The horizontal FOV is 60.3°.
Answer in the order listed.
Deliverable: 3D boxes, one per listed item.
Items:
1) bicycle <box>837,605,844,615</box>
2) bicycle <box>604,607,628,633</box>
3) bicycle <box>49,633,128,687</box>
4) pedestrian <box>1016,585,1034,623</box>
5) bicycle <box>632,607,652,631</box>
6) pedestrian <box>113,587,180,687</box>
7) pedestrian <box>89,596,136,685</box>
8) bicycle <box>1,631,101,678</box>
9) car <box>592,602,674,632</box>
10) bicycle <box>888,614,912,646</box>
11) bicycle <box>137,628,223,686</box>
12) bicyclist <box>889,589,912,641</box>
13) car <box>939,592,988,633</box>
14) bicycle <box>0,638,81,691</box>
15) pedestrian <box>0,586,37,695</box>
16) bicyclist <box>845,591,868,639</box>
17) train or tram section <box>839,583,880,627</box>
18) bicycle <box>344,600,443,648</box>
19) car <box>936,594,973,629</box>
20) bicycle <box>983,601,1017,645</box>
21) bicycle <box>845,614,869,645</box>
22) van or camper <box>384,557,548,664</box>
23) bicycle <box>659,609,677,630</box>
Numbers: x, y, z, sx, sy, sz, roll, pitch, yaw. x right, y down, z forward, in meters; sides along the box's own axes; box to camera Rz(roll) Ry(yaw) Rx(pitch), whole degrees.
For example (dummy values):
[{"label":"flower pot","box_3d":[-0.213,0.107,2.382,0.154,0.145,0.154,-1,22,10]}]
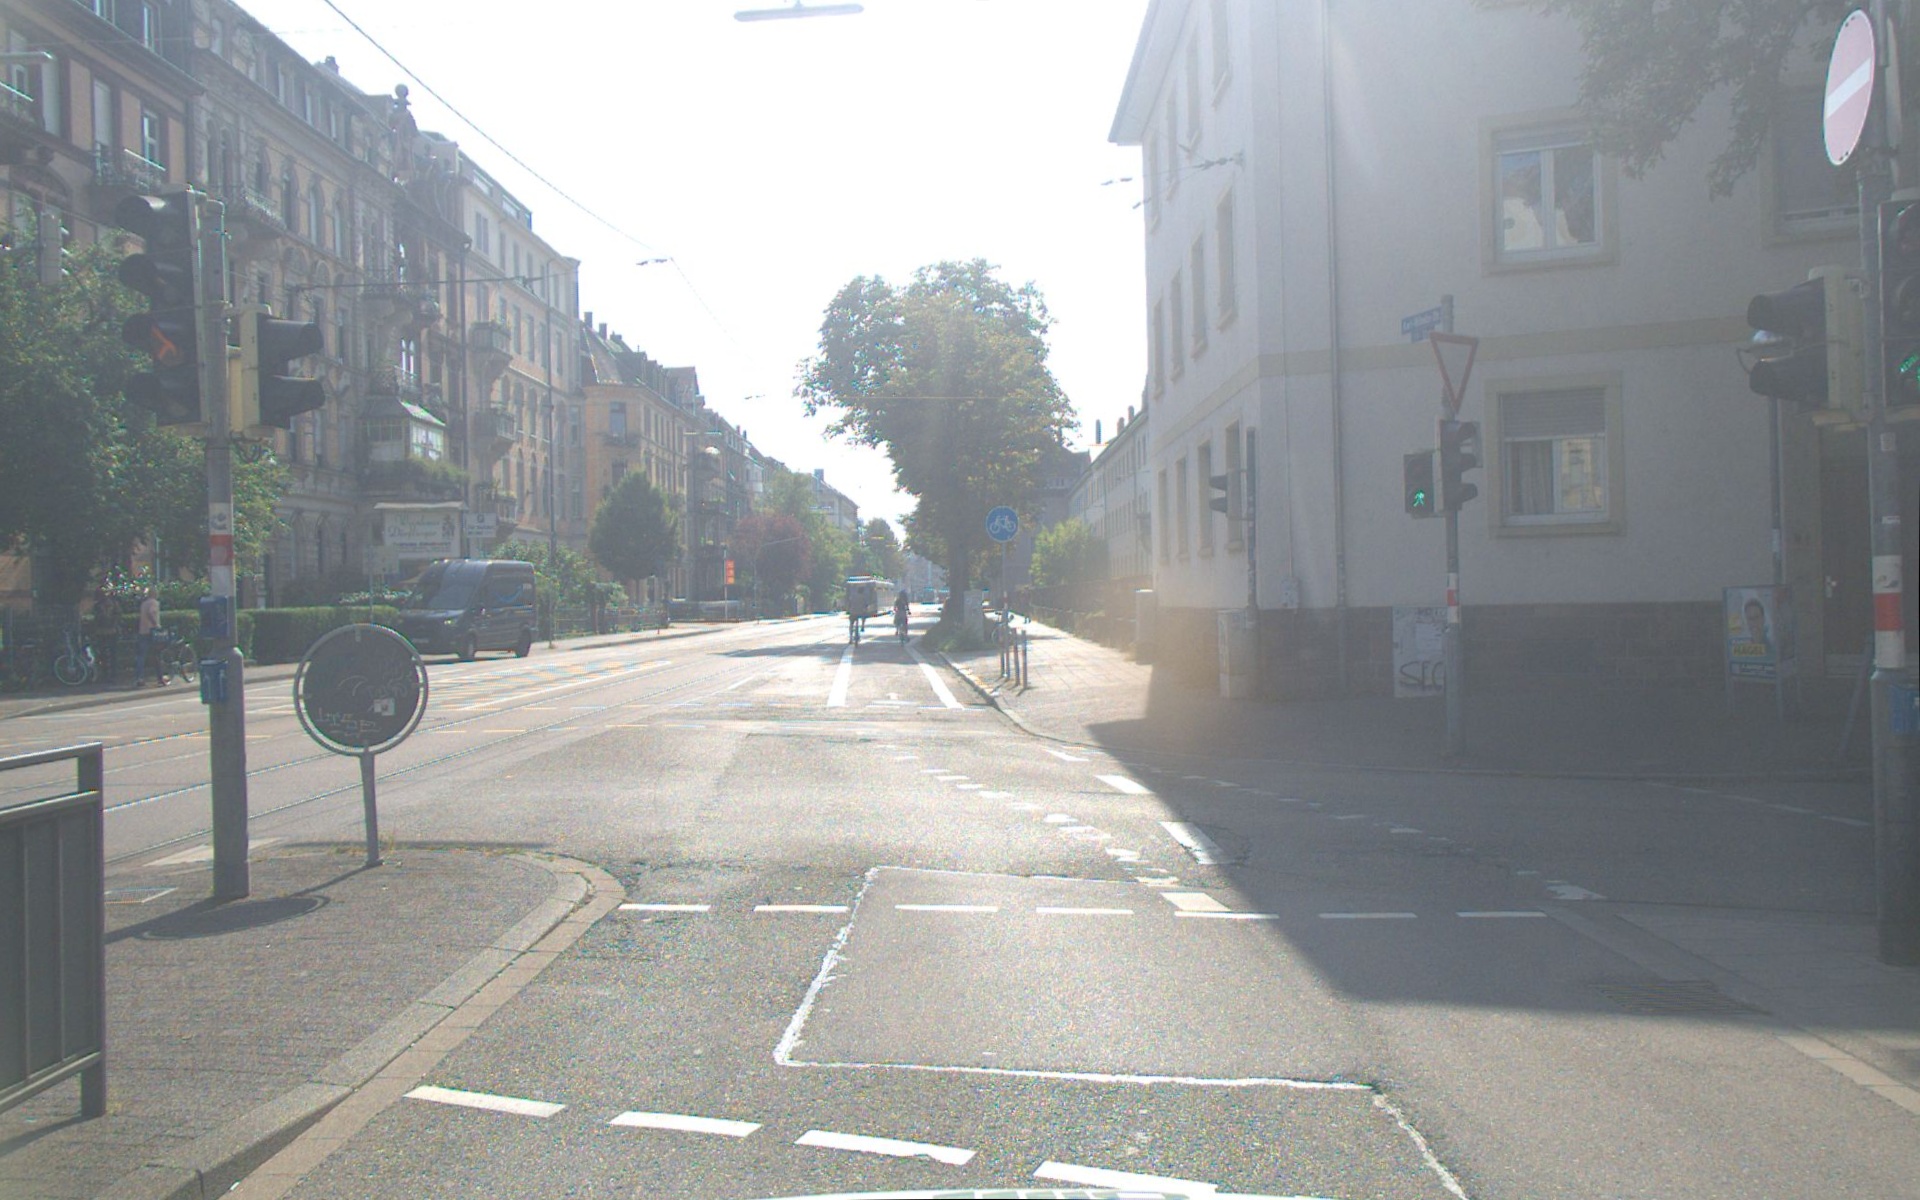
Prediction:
[{"label":"bicycle","box_3d":[-14.651,1.181,202.762,0.549,1.242,2.114,-1,0,2]},{"label":"bicycle","box_3d":[-15.275,0.889,73.451,0.594,1.076,1.840,3,0,2]},{"label":"bicycle","box_3d":[-16.702,1.140,31.742,0.515,0.943,1.703,-1,0,3]},{"label":"pedestrian","box_3d":[3.088,0.195,78.543,0.736,1.779,0.879,-1,0,6]},{"label":"bicycle","box_3d":[-15.261,0.904,79.385,0.533,1.076,1.840,3,0,2]},{"label":"pedestrian","box_3d":[-15.348,0.688,31.224,0.713,1.838,1.093,-1,0,-1]},{"label":"pedestrian","box_3d":[-16.543,0.777,32.293,0.625,1.707,0.632,-1,0,-12]},{"label":"bicycle","box_3d":[-17.991,1.077,32.744,1.662,0.875,0.528,-1,0,0]},{"label":"car","box_3d":[-17.739,0.945,89.862,4.053,1.570,2.064,-1,-1,-1]},{"label":"bicycle","box_3d":[-1.780,0.891,49.135,0.641,0.925,1.774,0,0,-1]},{"label":"bicycle","box_3d":[-14.874,1.069,31.613,0.606,1.024,2.150,-1,0,0]},{"label":"bicyclist","box_3d":[-1.769,0.442,49.123,0.641,1.500,0.908,0,0,-1]},{"label":"car","box_3d":[0.180,0.509,68.493,1.610,1.567,3.844,-3,0,5]},{"label":"bicycle","box_3d":[-16.735,1.160,30.047,0.515,0.875,1.703,-1,0,3]},{"label":"pedestrian","box_3d":[-16.252,0.670,27.666,0.886,1.797,1.186,-1,0,3]},{"label":"bicyclist","box_3d":[-3.095,0.450,49.381,0.613,1.425,0.929,0,0,-1]},{"label":"train or tram section","box_3d":[-8.586,0.401,142.853,2.679,3.567,15.431,-1,0,0]},{"label":"bicycle","box_3d":[-17.944,0.751,52.457,2.820,1.480,0.996,0,0,-7]},{"label":"car","box_3d":[-0.222,0.505,76.276,1.612,1.473,4.246,-3,0,0]},{"label":"bicycle","box_3d":[1.064,0.613,44.756,0.756,1.123,2.332,-1,0,-2]},{"label":"bicycle","box_3d":[-3.062,0.874,49.374,0.613,0.925,1.525,0,0,-1]},{"label":"van or camper","box_3d":[-13.495,0.290,45.688,2.007,2.691,6.094,-2,-1,7]},{"label":"bicycle","box_3d":[-15.261,1.005,86.410,0.533,1.076,1.840,3,0,2]}]
